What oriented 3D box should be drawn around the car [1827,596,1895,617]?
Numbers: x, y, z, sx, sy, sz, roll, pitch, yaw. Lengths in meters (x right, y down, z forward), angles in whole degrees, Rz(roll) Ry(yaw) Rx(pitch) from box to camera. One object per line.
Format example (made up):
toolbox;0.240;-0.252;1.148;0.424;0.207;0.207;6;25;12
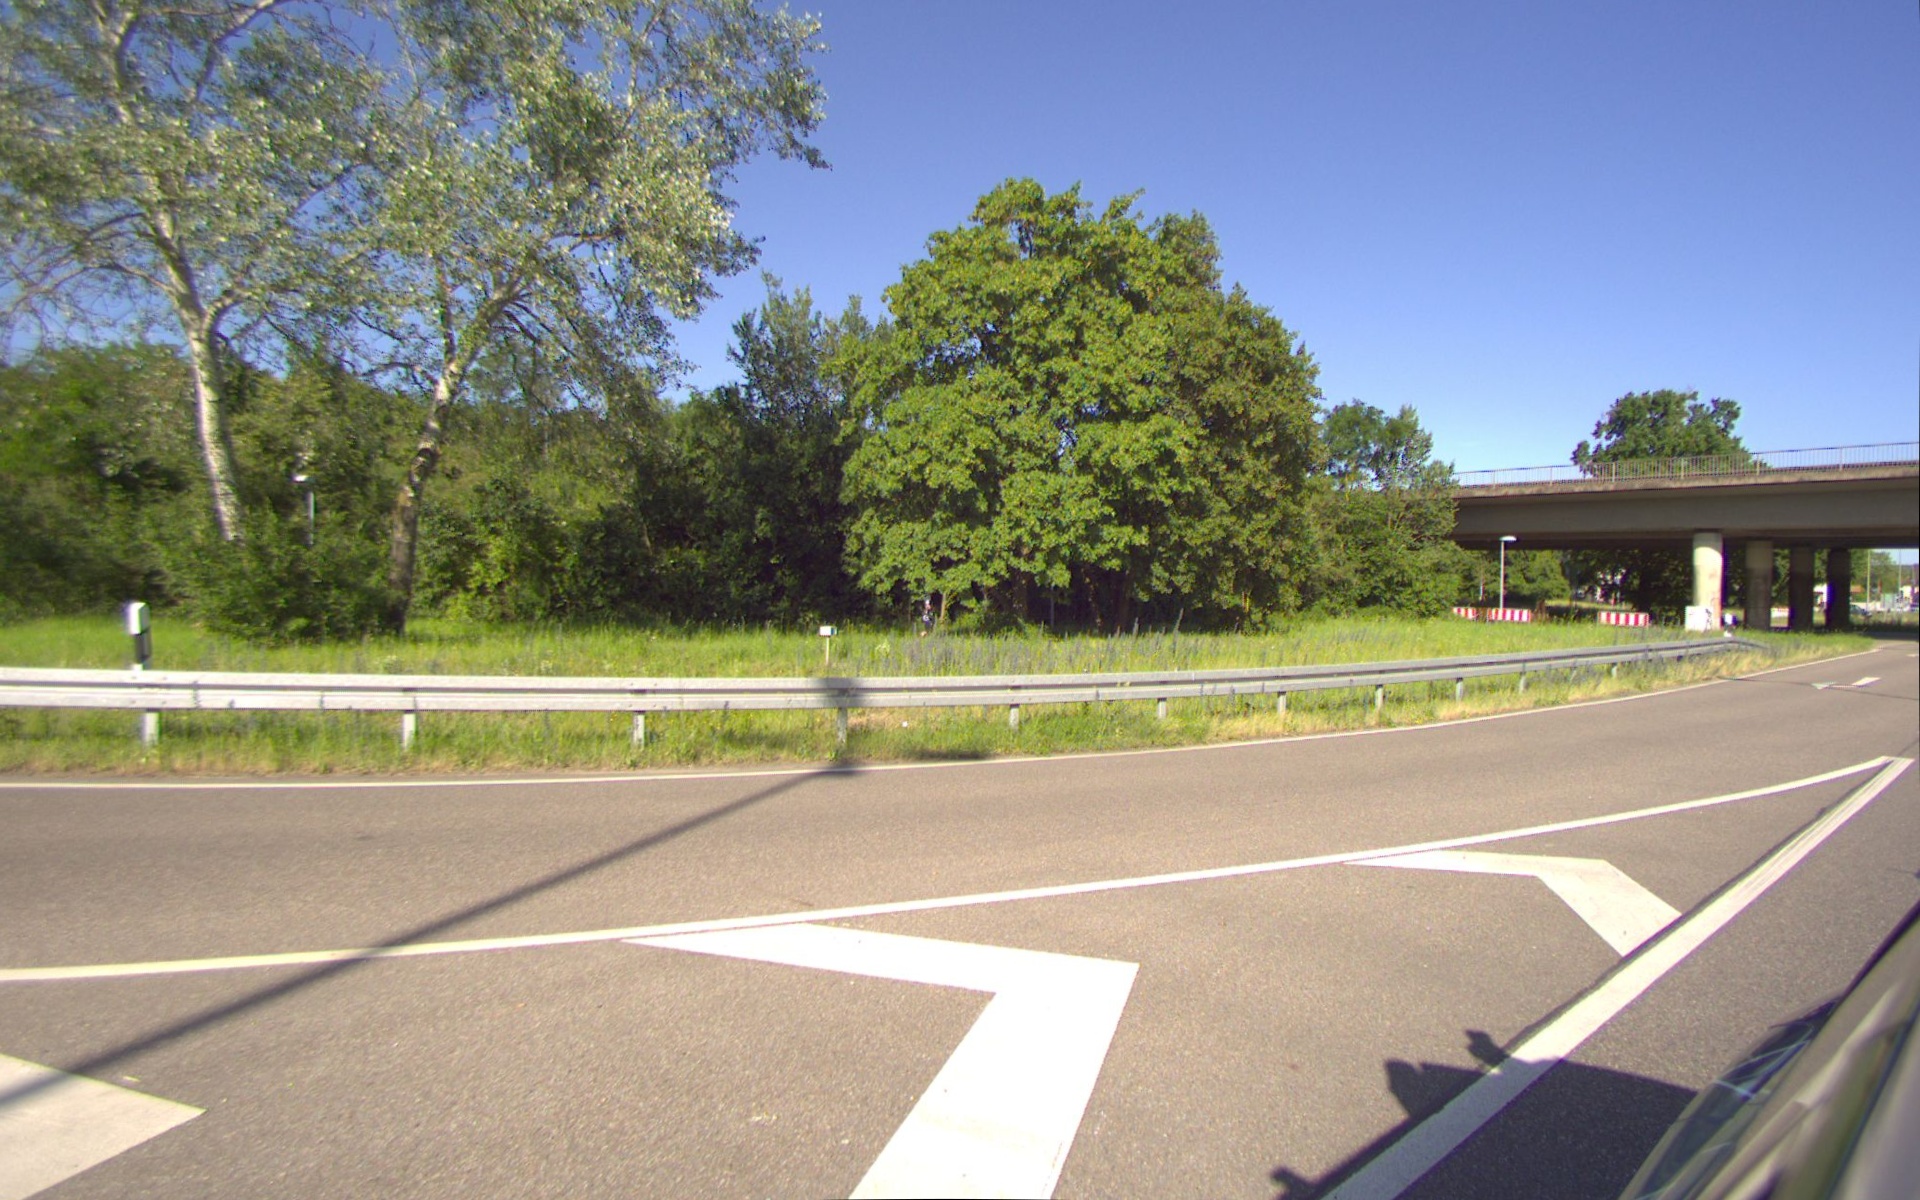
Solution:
car;73.673;0.516;82.823;1.792;1.556;4.047;1;1;-5
